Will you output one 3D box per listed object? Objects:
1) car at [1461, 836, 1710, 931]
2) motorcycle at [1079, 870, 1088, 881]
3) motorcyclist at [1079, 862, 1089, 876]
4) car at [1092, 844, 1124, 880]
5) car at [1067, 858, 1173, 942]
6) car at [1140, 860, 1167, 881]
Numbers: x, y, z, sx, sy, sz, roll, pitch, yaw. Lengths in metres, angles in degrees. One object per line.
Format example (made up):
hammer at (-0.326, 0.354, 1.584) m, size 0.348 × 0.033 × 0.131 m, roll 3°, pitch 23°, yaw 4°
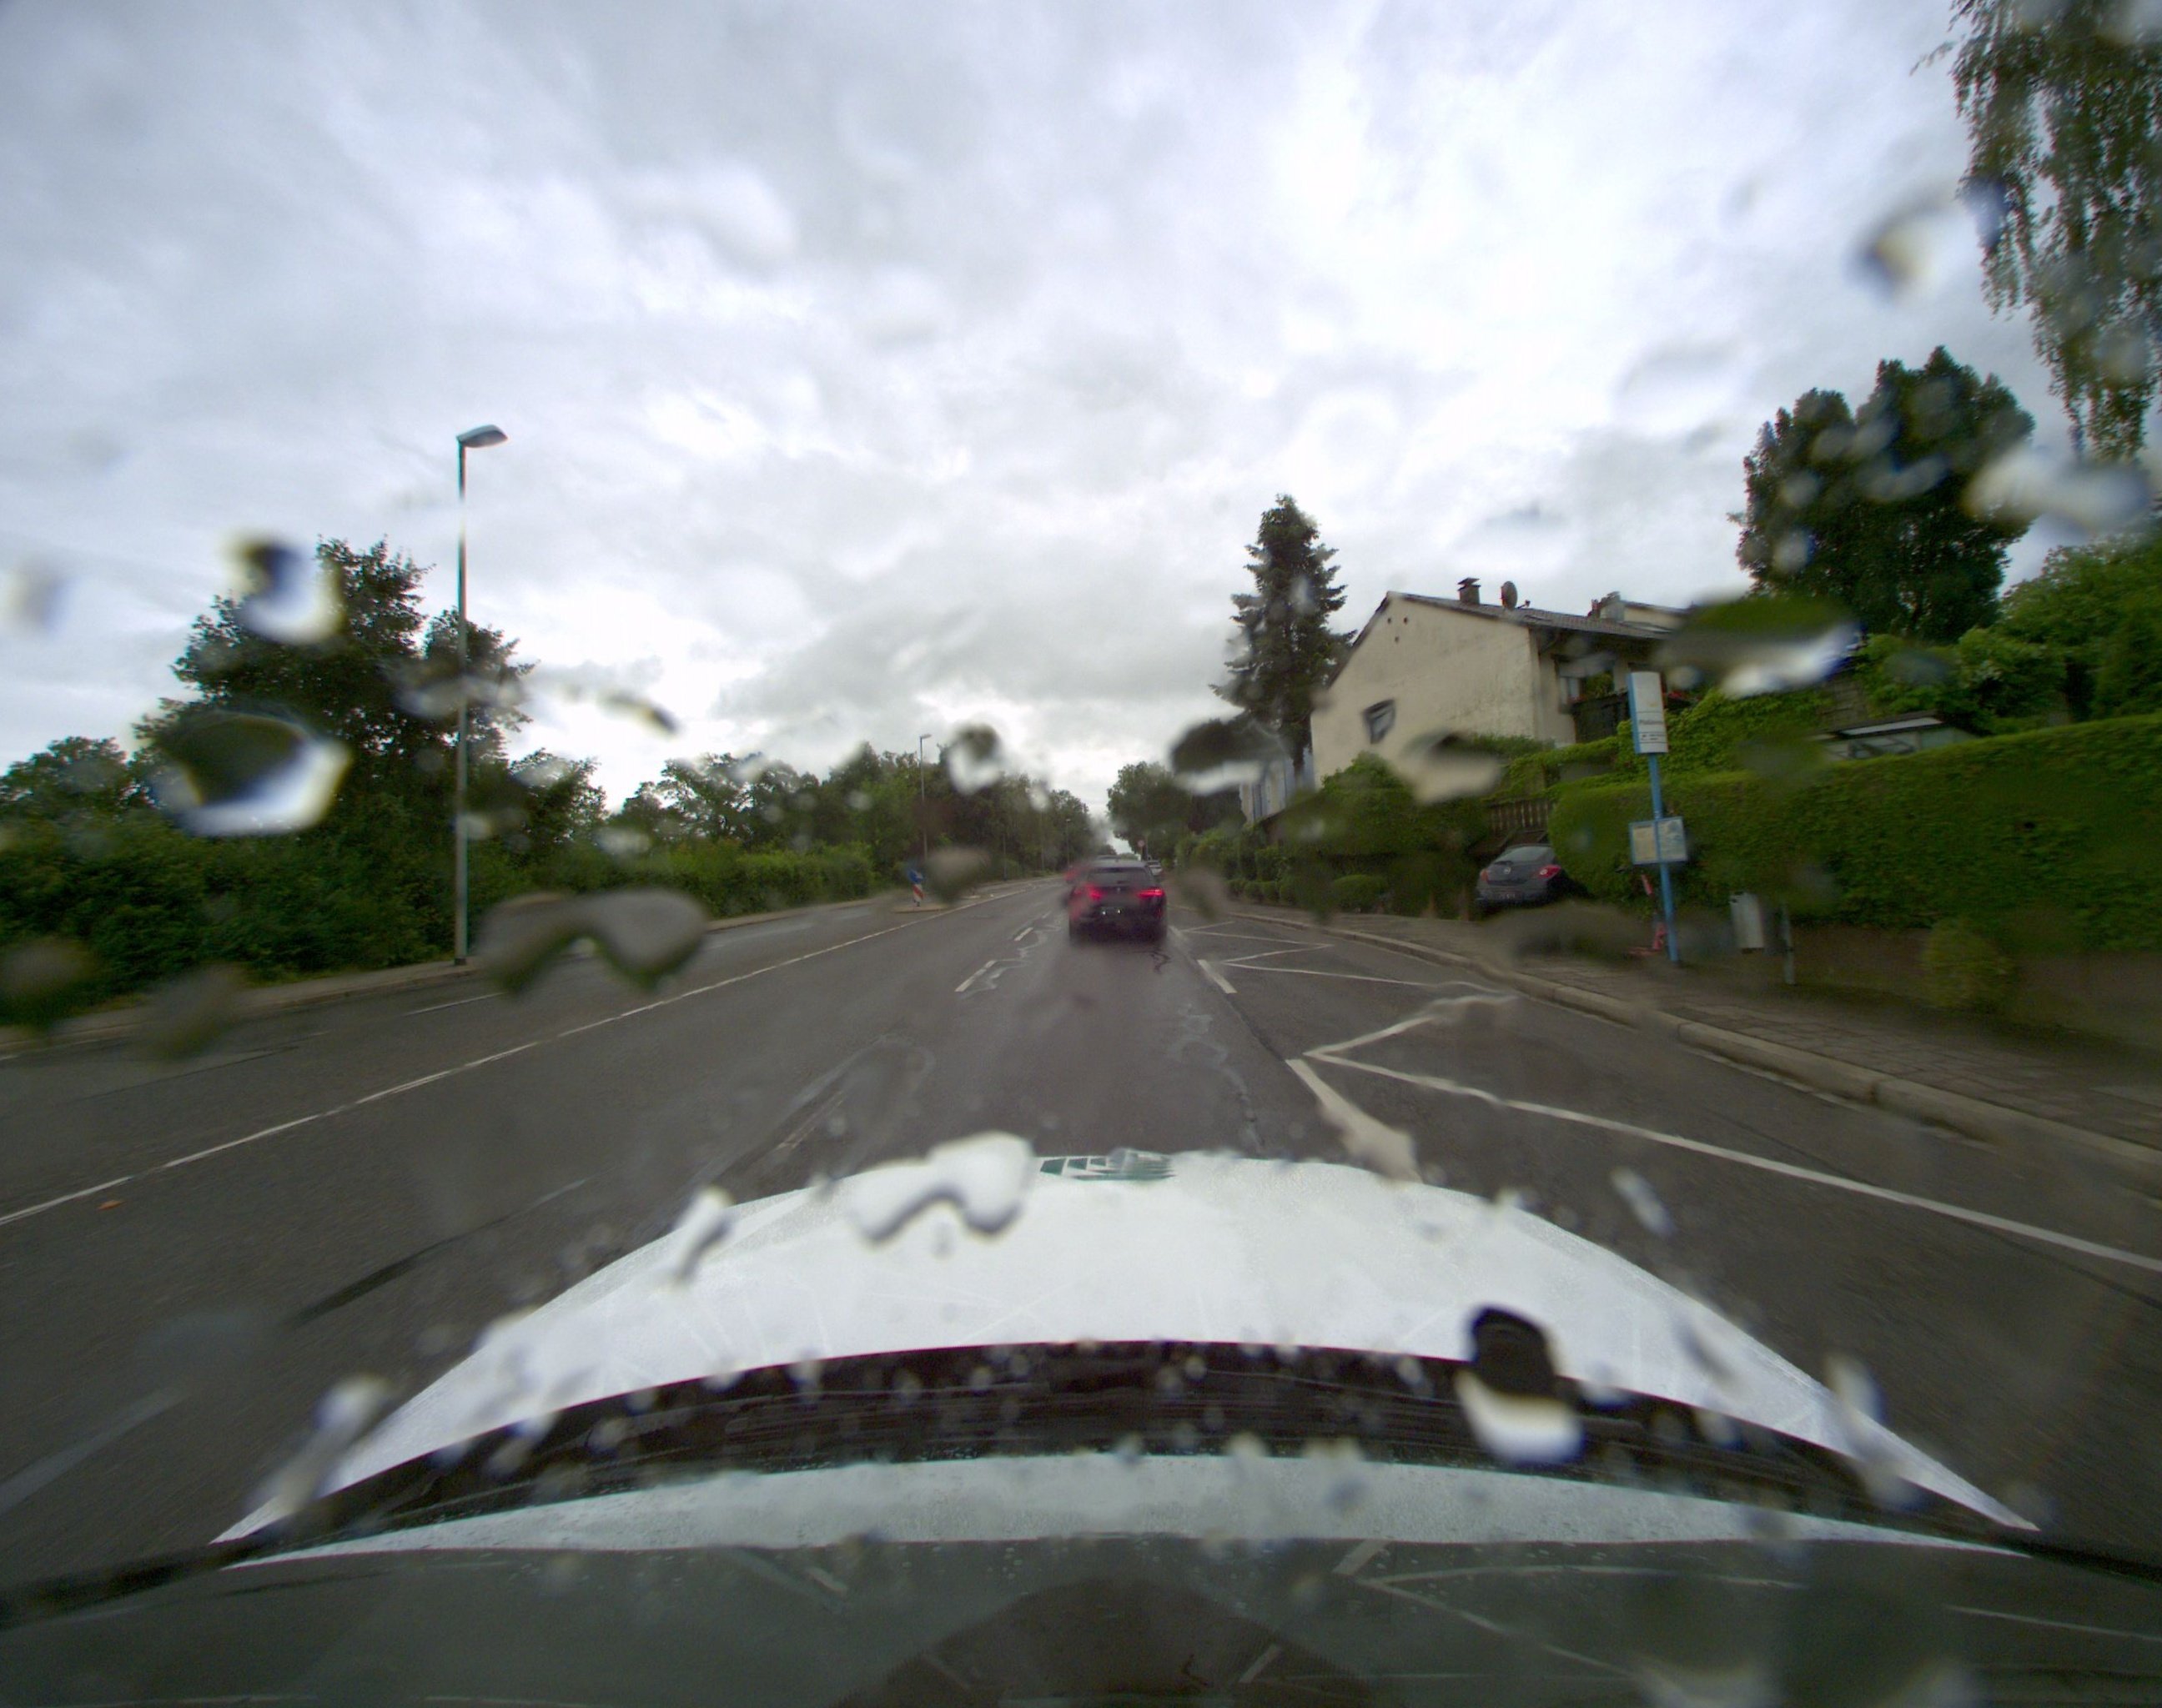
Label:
car at (8.804, 0.556, 14.257) m, size 3.706 × 1.298 × 1.761 m, roll 5°, pitch -4°, yaw -18°
motorcycle at (0.305, 2.264, 86.610) m, size 0.872 × 1.124 × 2.742 m, roll 0°, pitch -1°, yaw 2°
motorcyclist at (0.310, 1.600, 86.747) m, size 1.036 × 1.568 × 0.855 m, roll -1°, pitch -1°, yaw 1°
car at (1.508, 0.427, 45.445) m, size 1.623 × 1.833 × 4.001 m, roll -3°, pitch 0°, yaw 2°
car at (0.807, 0.843, 16.624) m, size 1.889 × 1.489 × 4.003 m, roll 0°, pitch -1°, yaw 3°
car at (5.490, 1.217, 62.059) m, size 1.927 × 1.442 × 4.413 m, roll -2°, pitch -1°, yaw 4°
